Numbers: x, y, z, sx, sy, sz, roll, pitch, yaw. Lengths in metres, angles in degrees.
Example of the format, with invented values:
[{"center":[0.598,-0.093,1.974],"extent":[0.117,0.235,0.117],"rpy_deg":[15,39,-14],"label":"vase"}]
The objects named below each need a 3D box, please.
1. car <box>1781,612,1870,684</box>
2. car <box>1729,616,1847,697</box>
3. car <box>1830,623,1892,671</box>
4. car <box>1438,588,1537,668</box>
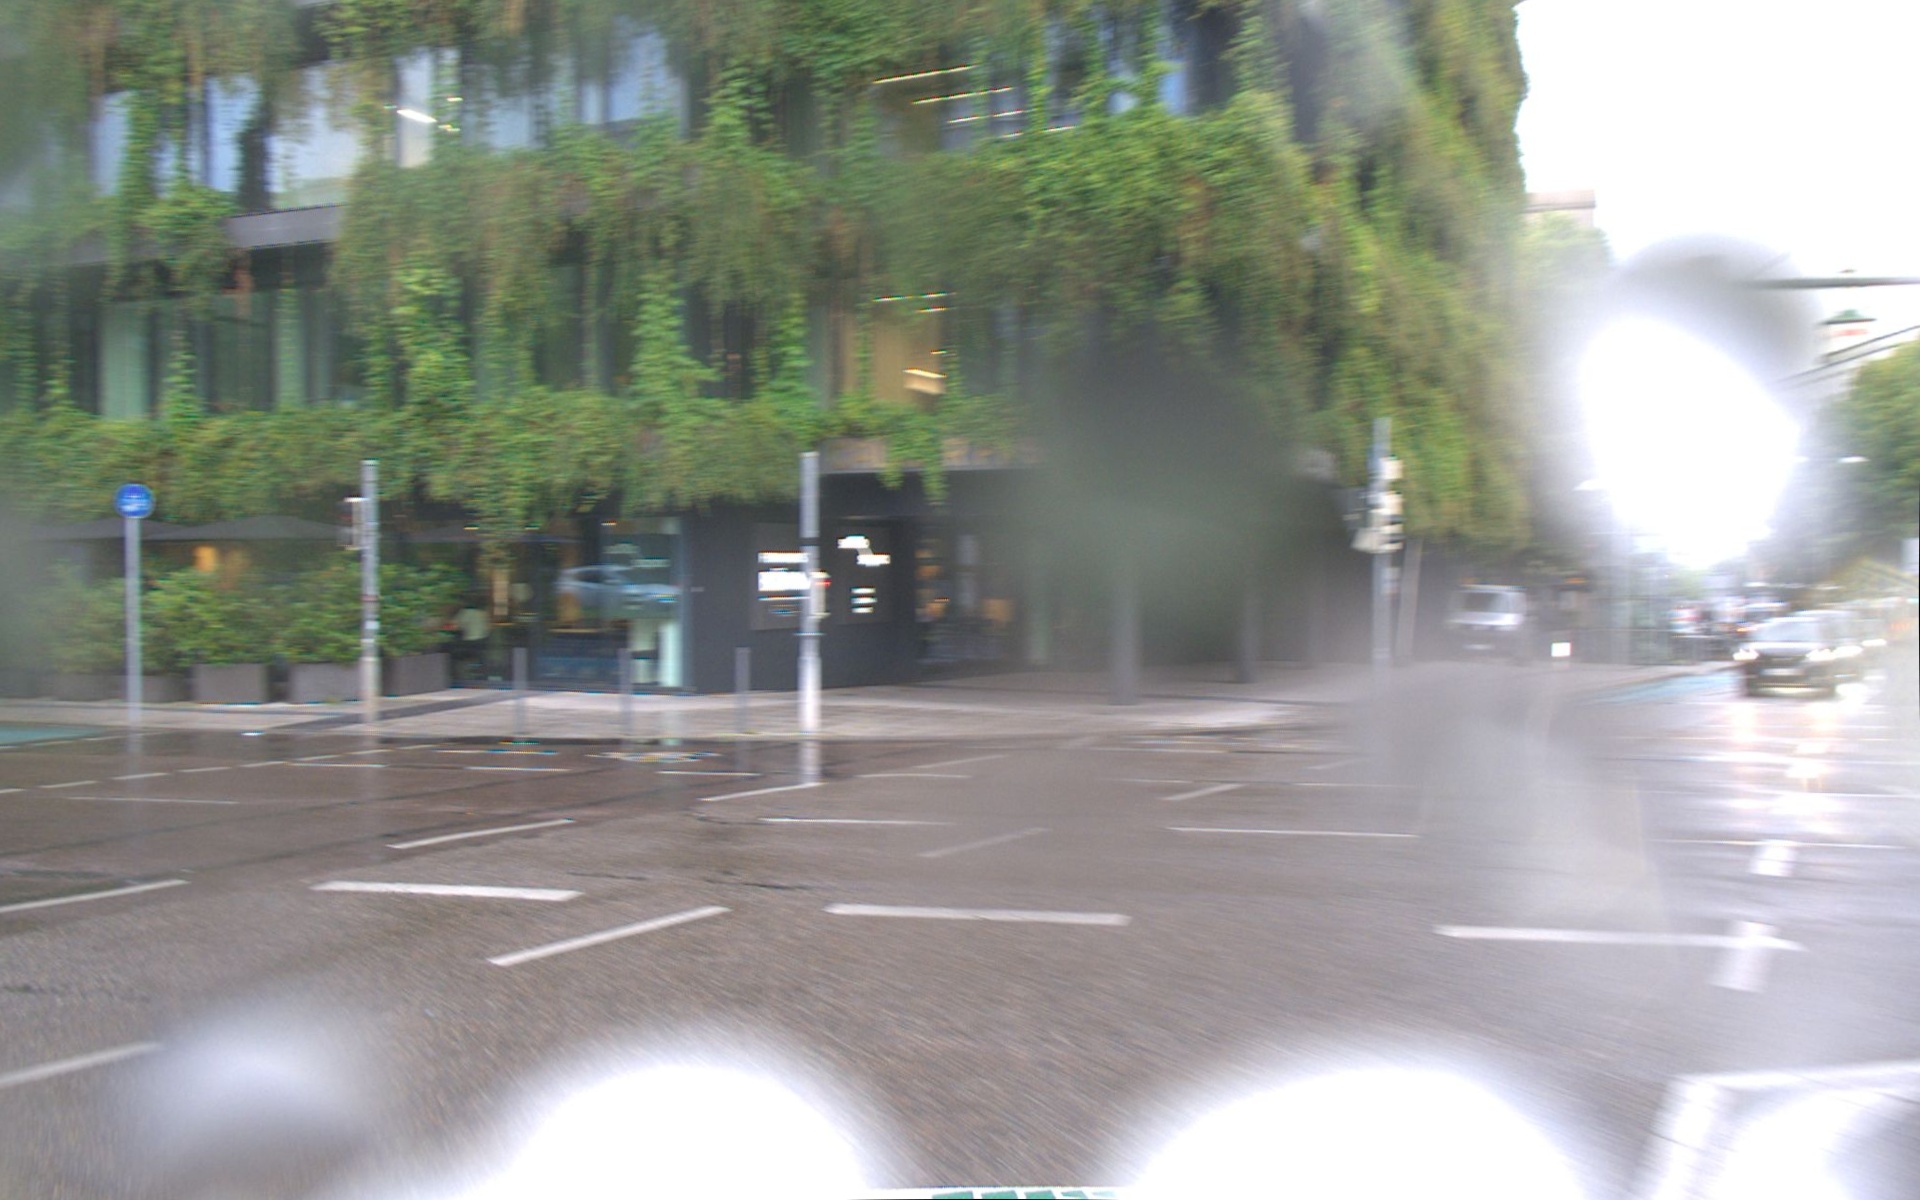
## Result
[{"center":[23.029,1.268,43.942],"extent":[1.789,1.789,4.764],"rpy_deg":[-1,-2,31],"label":"car"},{"center":[16.682,1.108,33.237],"extent":[1.789,1.525,4.192],"rpy_deg":[-1,-2,31],"label":"car"},{"center":[32.857,1.696,60.257],"extent":[1.789,1.665,4.487],"rpy_deg":[-1,-2,31],"label":"car"},{"center":[13.970,0.715,43.632],"extent":[2.070,1.990,4.869],"rpy_deg":[0,0,23],"label":"car"}]
